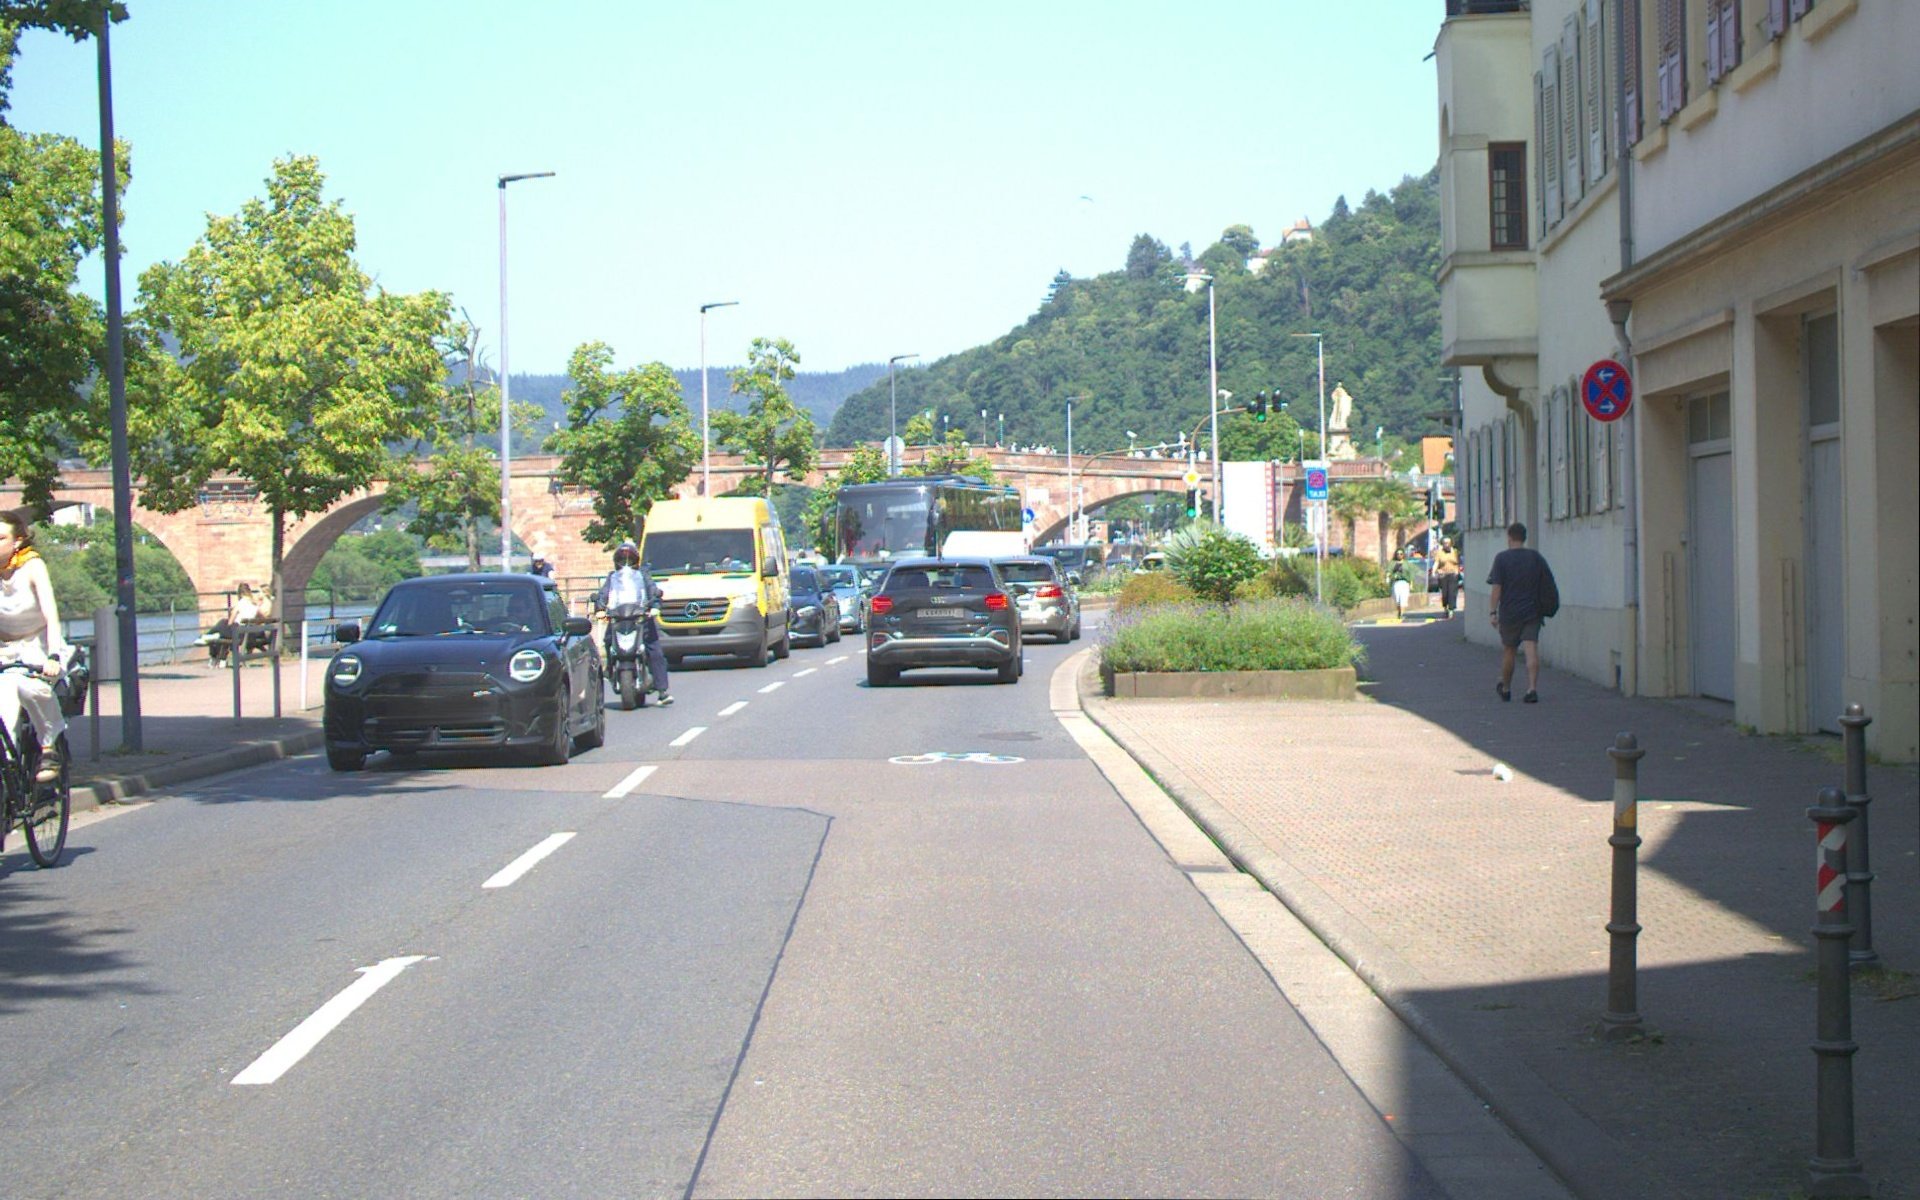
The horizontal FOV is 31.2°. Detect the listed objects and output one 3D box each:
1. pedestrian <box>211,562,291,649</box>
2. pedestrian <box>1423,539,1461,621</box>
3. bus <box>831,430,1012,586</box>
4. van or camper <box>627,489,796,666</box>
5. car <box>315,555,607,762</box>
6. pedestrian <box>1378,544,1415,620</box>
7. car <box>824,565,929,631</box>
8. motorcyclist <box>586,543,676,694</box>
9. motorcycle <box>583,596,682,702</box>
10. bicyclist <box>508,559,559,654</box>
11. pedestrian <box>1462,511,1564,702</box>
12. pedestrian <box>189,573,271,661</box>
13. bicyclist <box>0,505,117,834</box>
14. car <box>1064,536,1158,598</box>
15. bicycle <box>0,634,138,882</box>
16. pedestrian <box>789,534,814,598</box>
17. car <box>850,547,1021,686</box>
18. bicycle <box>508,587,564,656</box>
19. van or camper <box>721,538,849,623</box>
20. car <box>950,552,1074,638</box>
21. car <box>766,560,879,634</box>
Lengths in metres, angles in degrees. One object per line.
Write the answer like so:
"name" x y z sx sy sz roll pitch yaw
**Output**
"pedestrian" -10.562 0.084 51.225 0.937 1.276 0.849 0 0 8
"pedestrian" 10.112 -0.414 72.109 0.738 1.693 0.933 -1 0 7
"bus" -0.815 -2.216 88.224 2.632 3.552 12.978 0 0 8
"van or camper" -3.773 -0.332 53.415 2.087 2.548 7.092 0 0 0
"car" -3.760 0.417 26.493 1.701 1.453 4.002 -1 0 -1
"pedestrian" 9.193 -0.376 72.422 0.762 1.590 0.696 0 1 7
"car" -1.865 -0.061 77.687 1.817 1.424 4.192 -1 0 6
"motorcyclist" -3.477 0.194 36.410 0.878 1.578 1.025 0 0 -2
"motorcycle" -3.425 0.513 36.144 0.883 1.074 2.328 -1 -1 -2
"bicyclist" -7.553 0.106 60.873 0.740 1.662 1.089 0 1 1
"pedestrian" 5.088 0.061 31.685 0.762 1.708 0.696 -3 0 2
"pedestrian" -10.681 0.248 50.320 0.937 1.276 0.849 0 0 8
"bicyclist" -4.624 0.312 16.714 0.766 1.526 1.025 1 2 1
"car" 3.722 -0.796 84.045 1.927 1.456 4.830 0 0 7
"bicycle" -4.642 0.734 16.761 0.740 1.073 1.953 1 1 1
"pedestrian" -4.439 -0.954 96.324 0.620 1.774 0.662 0 0 7
"car" -0.291 0.151 41.802 1.926 1.548 4.832 1 1 0
"bicycle" -7.479 0.374 60.742 0.711 1.164 1.896 0 1 1
"van or camper" -3.206 -0.348 63.793 1.993 1.450 4.682 -2 0 1
"car" 0.967 -0.107 60.954 1.927 1.456 4.831 0 0 4
"car" -2.827 -0.085 71.527 1.814 1.423 4.310 -2 1 4
